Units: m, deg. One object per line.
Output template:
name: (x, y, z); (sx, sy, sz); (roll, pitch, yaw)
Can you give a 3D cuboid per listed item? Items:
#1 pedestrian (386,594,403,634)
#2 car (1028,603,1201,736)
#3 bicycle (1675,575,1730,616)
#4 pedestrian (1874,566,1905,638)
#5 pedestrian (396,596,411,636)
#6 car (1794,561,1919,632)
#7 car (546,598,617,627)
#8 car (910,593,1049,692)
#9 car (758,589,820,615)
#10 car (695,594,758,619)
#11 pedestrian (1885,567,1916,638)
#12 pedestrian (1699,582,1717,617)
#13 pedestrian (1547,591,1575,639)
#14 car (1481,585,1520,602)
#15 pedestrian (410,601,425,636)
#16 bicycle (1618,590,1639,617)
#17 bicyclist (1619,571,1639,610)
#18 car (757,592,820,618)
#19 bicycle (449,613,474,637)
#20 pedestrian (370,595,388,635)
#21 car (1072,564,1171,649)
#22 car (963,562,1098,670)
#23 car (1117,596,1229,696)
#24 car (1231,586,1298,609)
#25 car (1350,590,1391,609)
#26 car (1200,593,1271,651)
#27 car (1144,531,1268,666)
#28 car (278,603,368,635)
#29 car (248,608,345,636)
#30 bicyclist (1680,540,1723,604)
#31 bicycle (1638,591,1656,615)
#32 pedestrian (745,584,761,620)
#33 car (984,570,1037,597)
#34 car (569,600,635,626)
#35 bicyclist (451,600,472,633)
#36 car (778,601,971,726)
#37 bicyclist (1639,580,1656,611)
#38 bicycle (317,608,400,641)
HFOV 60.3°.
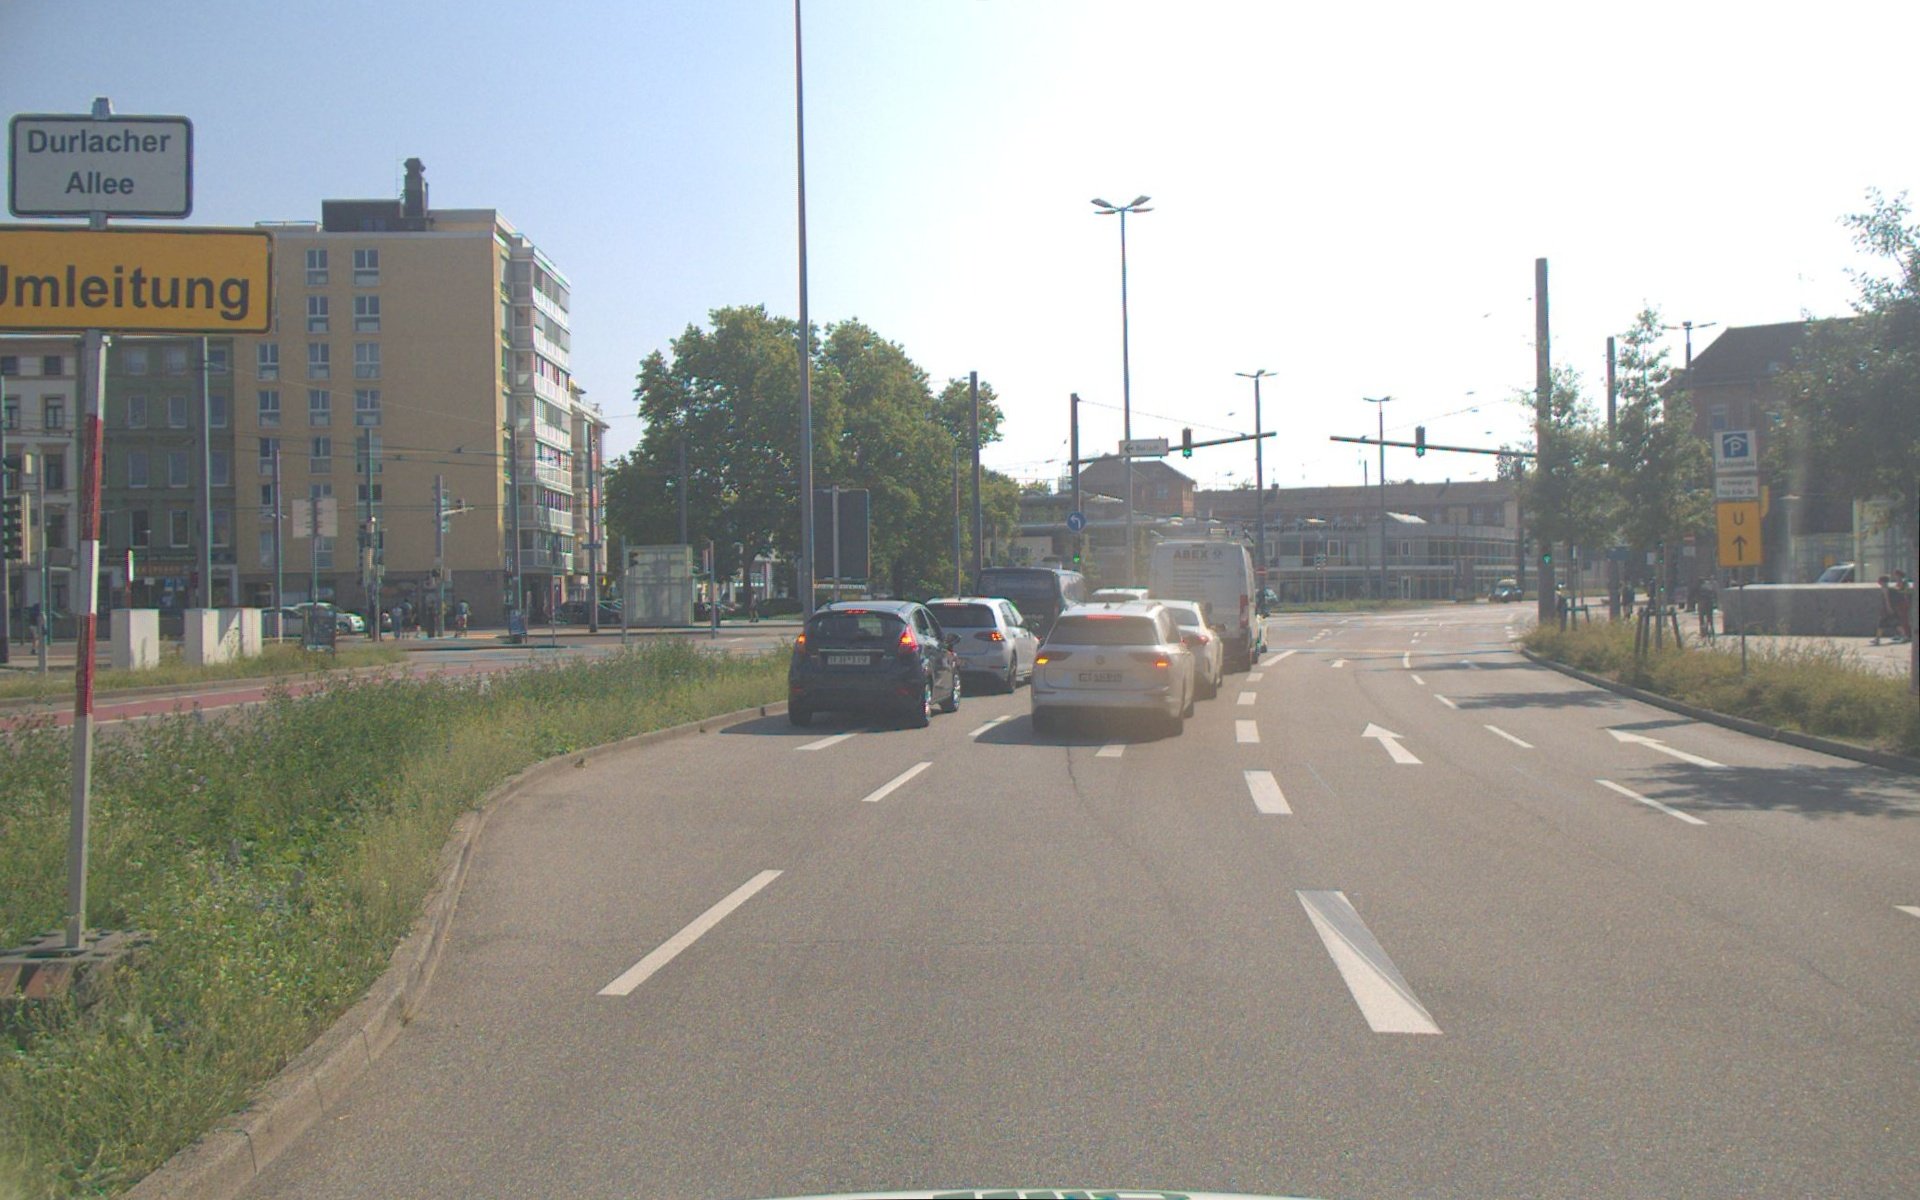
pedestrian: (-24.718, 0.626, 72.314); (0.445, 1.714, 0.548); (0, 2, 10)
car: (1.900, 0.751, 19.446); (1.649, 1.412, 3.637); (0, 0, 11)
bicycle: (18.803, -0.107, 41.935); (0.755, 0.993, 2.152); (0, 0, 10)
pedestrian: (21.872, 0.042, 38.915); (0.603, 1.667, 0.532); (-1, 0, 31)
pedestrian: (-24.630, 0.712, 73.242); (0.452, 1.714, 0.434); (-3, 3, -40)
car: (28.390, -0.126, 51.641); (3.912, 2.048, 1.751); (-1, 3, -8)
car: (-23.011, 0.769, 100.674); (3.906, 1.584, 1.869); (-1, 3, -1)
car: (0.377, 0.638, 26.641); (1.457, 1.440, 3.651); (-1, 1, 13)
car: (-11.524, 0.129, 111.574); (3.904, 1.646, 1.814); (-1, 0, 2)
car: (-15.372, 0.421, 108.975); (3.907, 1.585, 1.727); (-1, 0, -3)
pedestrian: (22.342, 0.053, 39.298); (0.602, 1.657, 0.533); (-1, 0, 28)
pedestrian: (33.378, -0.015, 73.806); (0.731, 1.556, 0.806); (-1, 0, 24)
pedestrian: (17.427, 0.427, 47.949); (0.622, 1.386, 0.634); (-1, 0, 8)
car: (48.038, -0.590, 146.953); (1.964, 1.467, 3.977); (-1, 0, 41)
pedestrian: (-24.169, 0.817, 73.657); (0.494, 1.513, 0.434); (-3, 3, -40)
bicycle: (27.245, 0.138, 67.361); (0.692, 1.080, 1.981); (-1, 0, 24)
bicyclist: (27.235, -0.378, 67.353); (0.698, 1.556, 0.806); (-1, 0, 24)
car: (-11.340, 0.322, 109.485); (3.904, 1.646, 1.814); (-1, 0, 2)
bicycle: (-22.040, 1.091, 73.107); (0.713, 1.001, 1.730); (-1, 0, -6)
pedestrian: (-25.168, 0.640, 71.658); (0.445, 1.714, 0.547); (-1, 0, 22)
car: (4.194, 0.156, 42.409); (1.980, 2.043, 4.688); (0, 0, 12)
car: (1.523, 0.300, 33.738); (1.980, 2.043, 4.688); (0, 0, 12)
car: (3.376, 0.671, 25.720); (1.457, 1.427, 3.945); (0, 0, 11)
car: (18.707, -0.151, 101.834); (3.881, 1.366, 1.932); (-1, 0, 6)
car: (33.668, -0.045, 135.578); (1.959, 1.467, 3.987); (-1, 0, 34)
car: (7.153, 0.548, 42.766); (1.602, 1.428, 3.690); (-1, 0, 13)
car: (5.190, -0.017, 34.408); (2.142, 2.594, 4.687); (0, 0, 13)
car: (-30.304, 0.910, 78.730); (3.662, 1.417, 1.586); (-1, 0, -2)
car: (-30.351, 1.026, 75.712); (3.750, 1.200, 1.576); (-1, -2, 1)
bicyclist: (18.796, -0.699, 41.949); (0.755, 1.606, 0.991); (0, 0, 10)
bicycle: (32.129, 0.126, 77.302); (0.692, 1.080, 1.981); (-1, 0, 24)
pedestrian: (-11.962, 0.092, 95.523); (0.805, 2.049, 0.509); (-1, 0, 0)
car: (4.033, -1.342, 131.555); (3.902, 2.048, 2.002); (0, 3, 9)
car: (-23.306, 0.832, 107.717); (3.907, 1.585, 1.868); (-1, 0, -3)
bicyclist: (-22.056, 0.735, 73.180); (0.711, 1.459, 0.689); (-1, 0, -6)
car: (-0.953, 0.713, 20.545); (1.665, 1.392, 3.967); (0, 0, 8)
bicyclist: (32.136, -0.215, 77.333); (0.692, 1.418, 0.829); (-1, 0, 24)
bicycle: (-31.666, 1.297, 87.152); (3.908, 1.578, 1.195); (-1, 2, -4)
